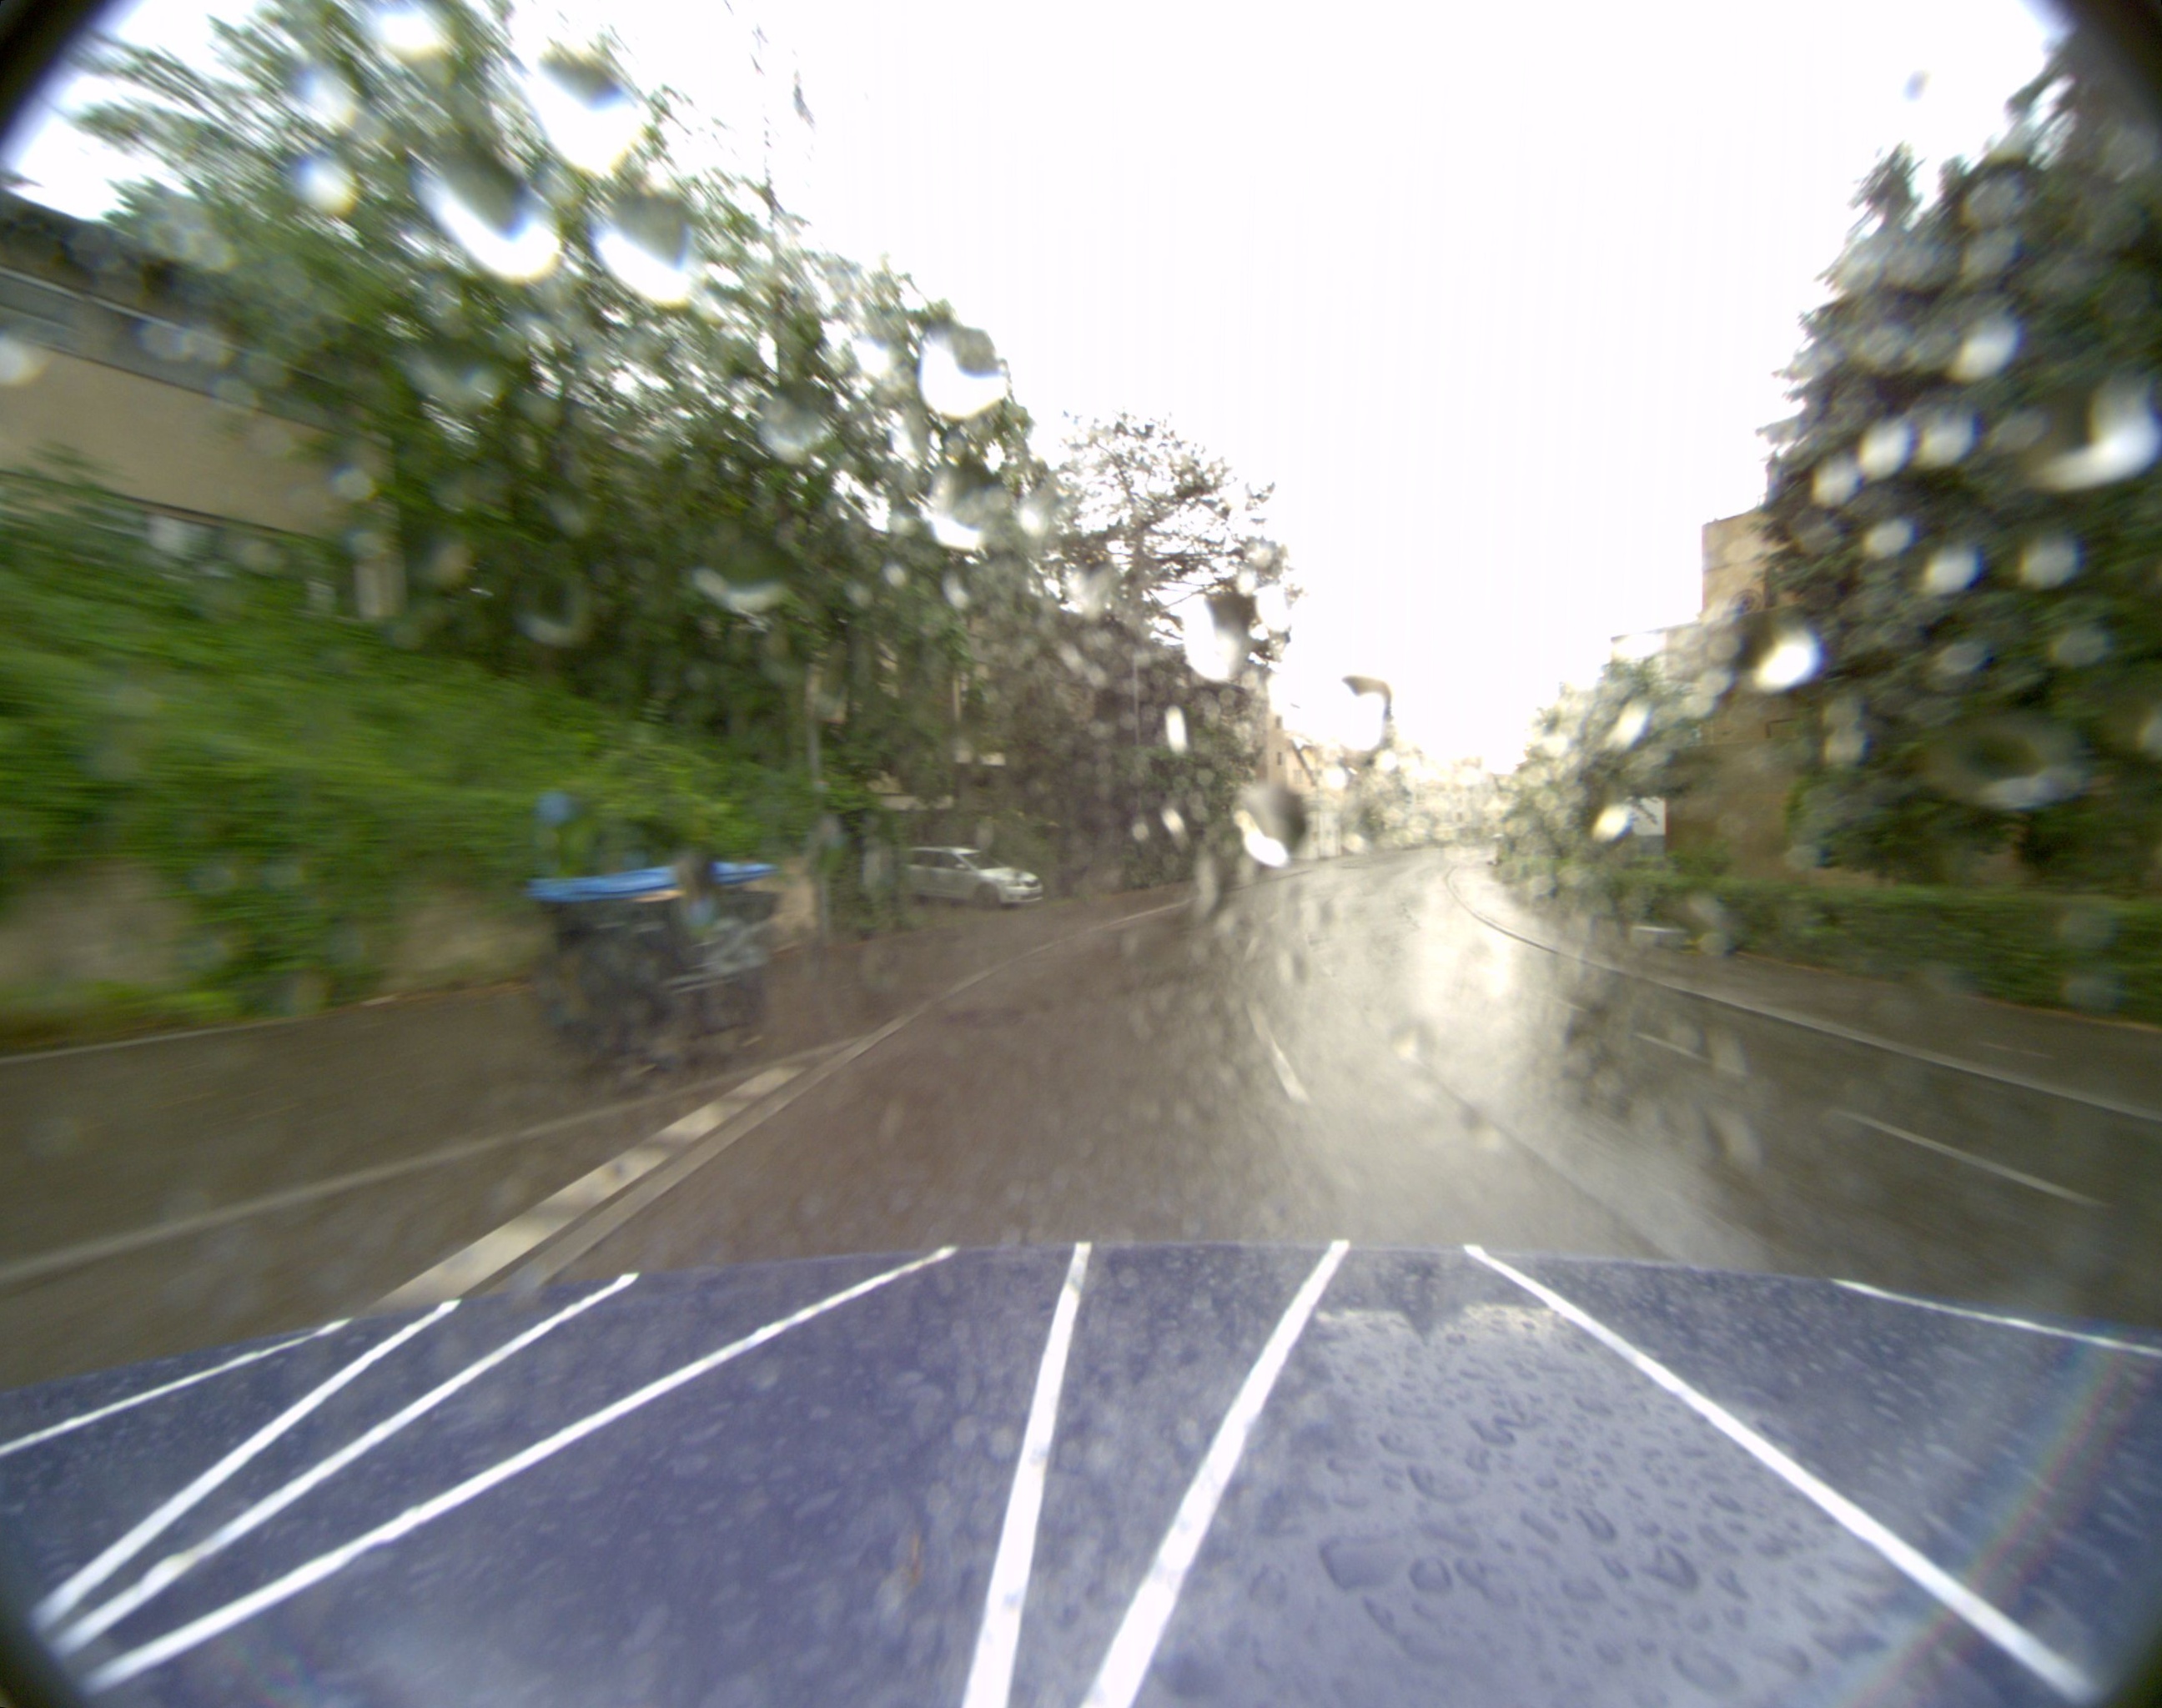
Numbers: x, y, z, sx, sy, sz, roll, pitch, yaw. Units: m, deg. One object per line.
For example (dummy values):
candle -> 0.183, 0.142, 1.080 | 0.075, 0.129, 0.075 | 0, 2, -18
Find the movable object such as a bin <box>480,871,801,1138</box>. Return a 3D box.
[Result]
movable object such as a bin -> -2.919, 0.873, 5.194 | 1.156, 1.401, 1.487 | 2, 3, 26

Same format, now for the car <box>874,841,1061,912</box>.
car -> -3.024, 0.515, 20.178 | 4.552, 1.545, 2.003 | 2, 3, 26

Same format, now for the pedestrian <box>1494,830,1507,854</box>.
pedestrian -> 36.108, -1.047, 65.348 | 0.868, 2.041, 0.804 | -2, 2, 23
